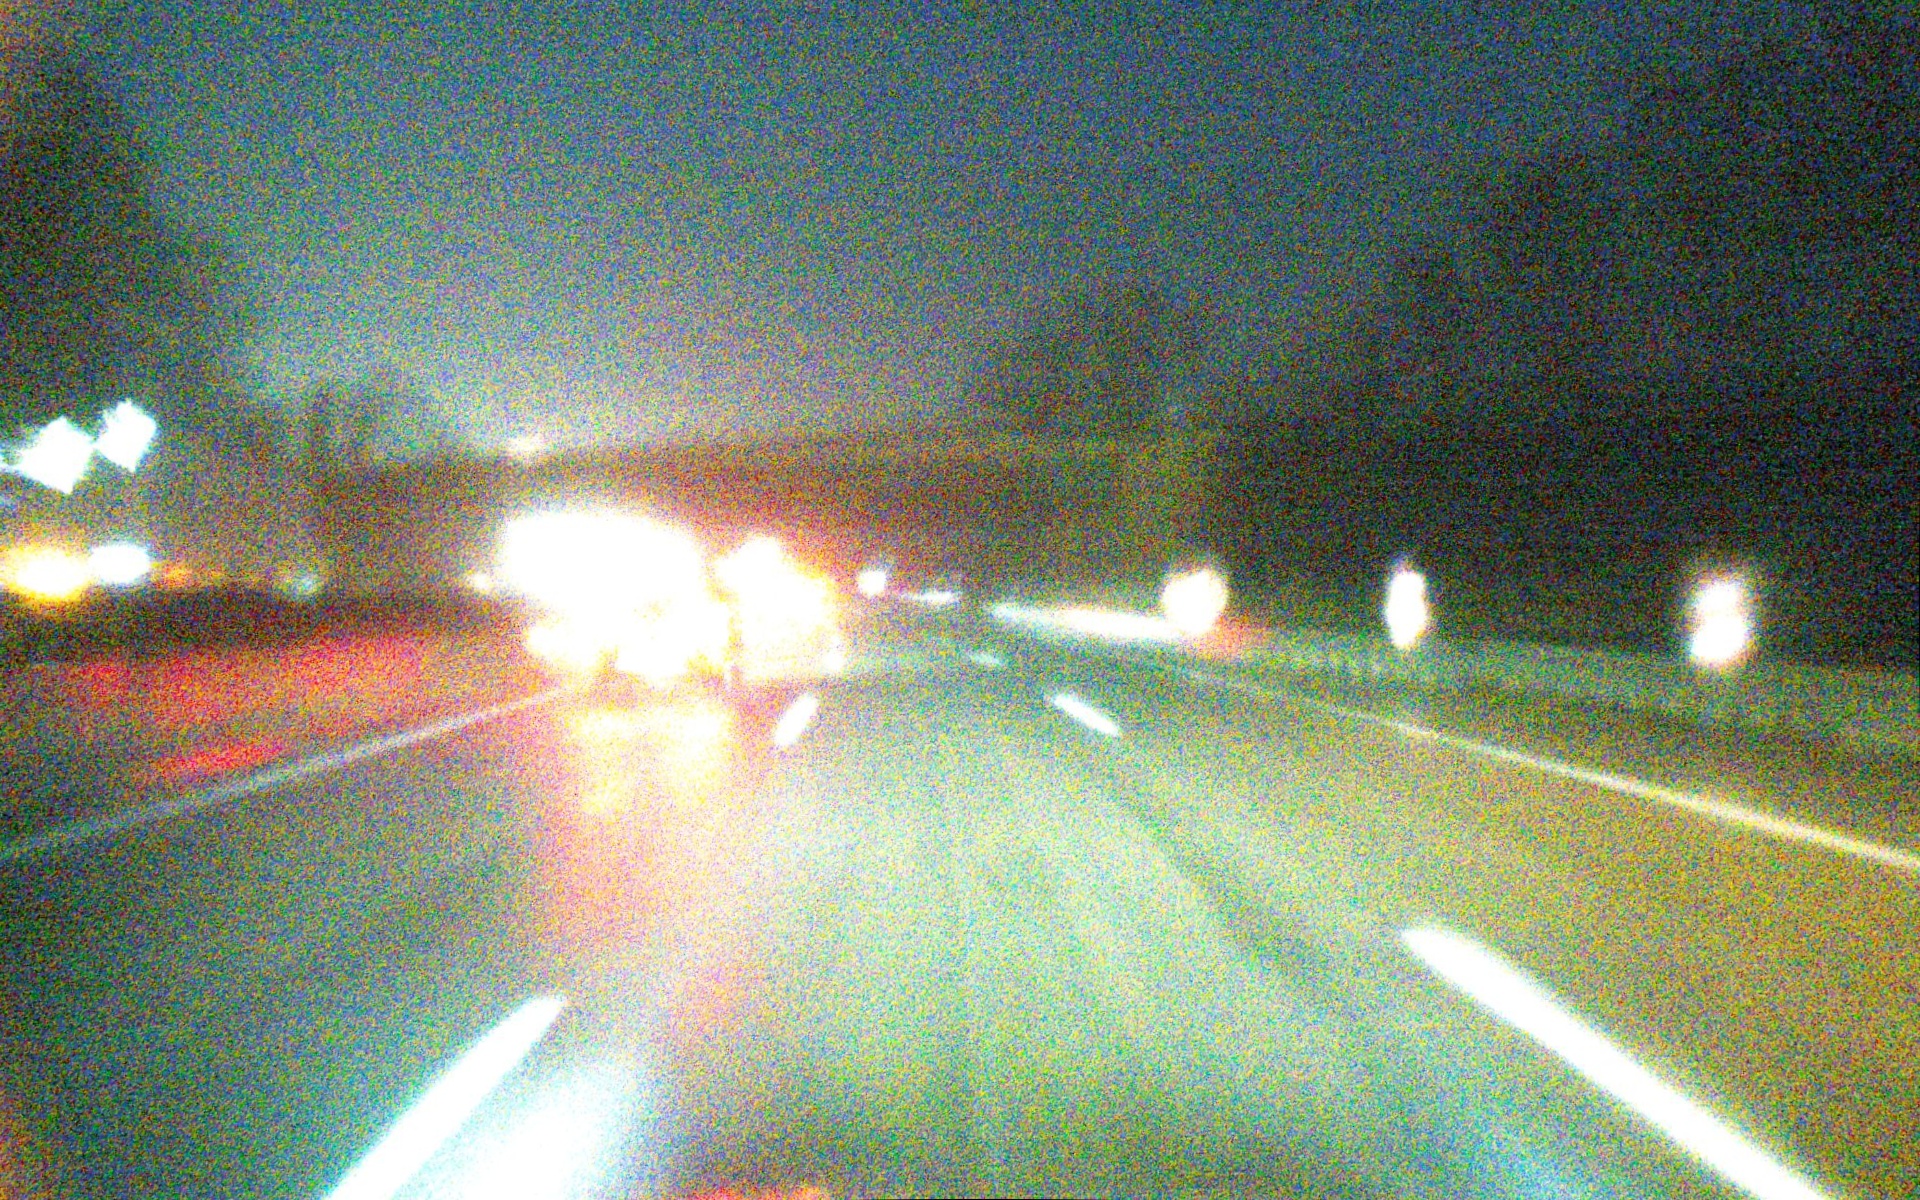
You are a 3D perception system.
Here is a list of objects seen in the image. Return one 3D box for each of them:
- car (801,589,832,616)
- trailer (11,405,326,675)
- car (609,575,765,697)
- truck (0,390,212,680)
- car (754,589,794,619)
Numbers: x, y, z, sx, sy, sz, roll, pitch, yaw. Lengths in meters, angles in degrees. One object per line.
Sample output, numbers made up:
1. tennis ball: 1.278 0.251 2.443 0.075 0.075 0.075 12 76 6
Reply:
1. car: -8.609 0.151 99.442 1.766 1.513 3.996 2 0 -5
2. trailer: -20.429 -1.327 44.136 2.853 5.998 14.154 1 0 -6
3. car: -4.075 0.492 25.404 1.822 1.567 4.747 4 0 -4
4. truck: -19.798 -1.343 37.705 2.848 5.998 6.870 1 0 -6
5. car: -8.160 0.189 72.292 1.631 1.258 3.754 1 0 -8
